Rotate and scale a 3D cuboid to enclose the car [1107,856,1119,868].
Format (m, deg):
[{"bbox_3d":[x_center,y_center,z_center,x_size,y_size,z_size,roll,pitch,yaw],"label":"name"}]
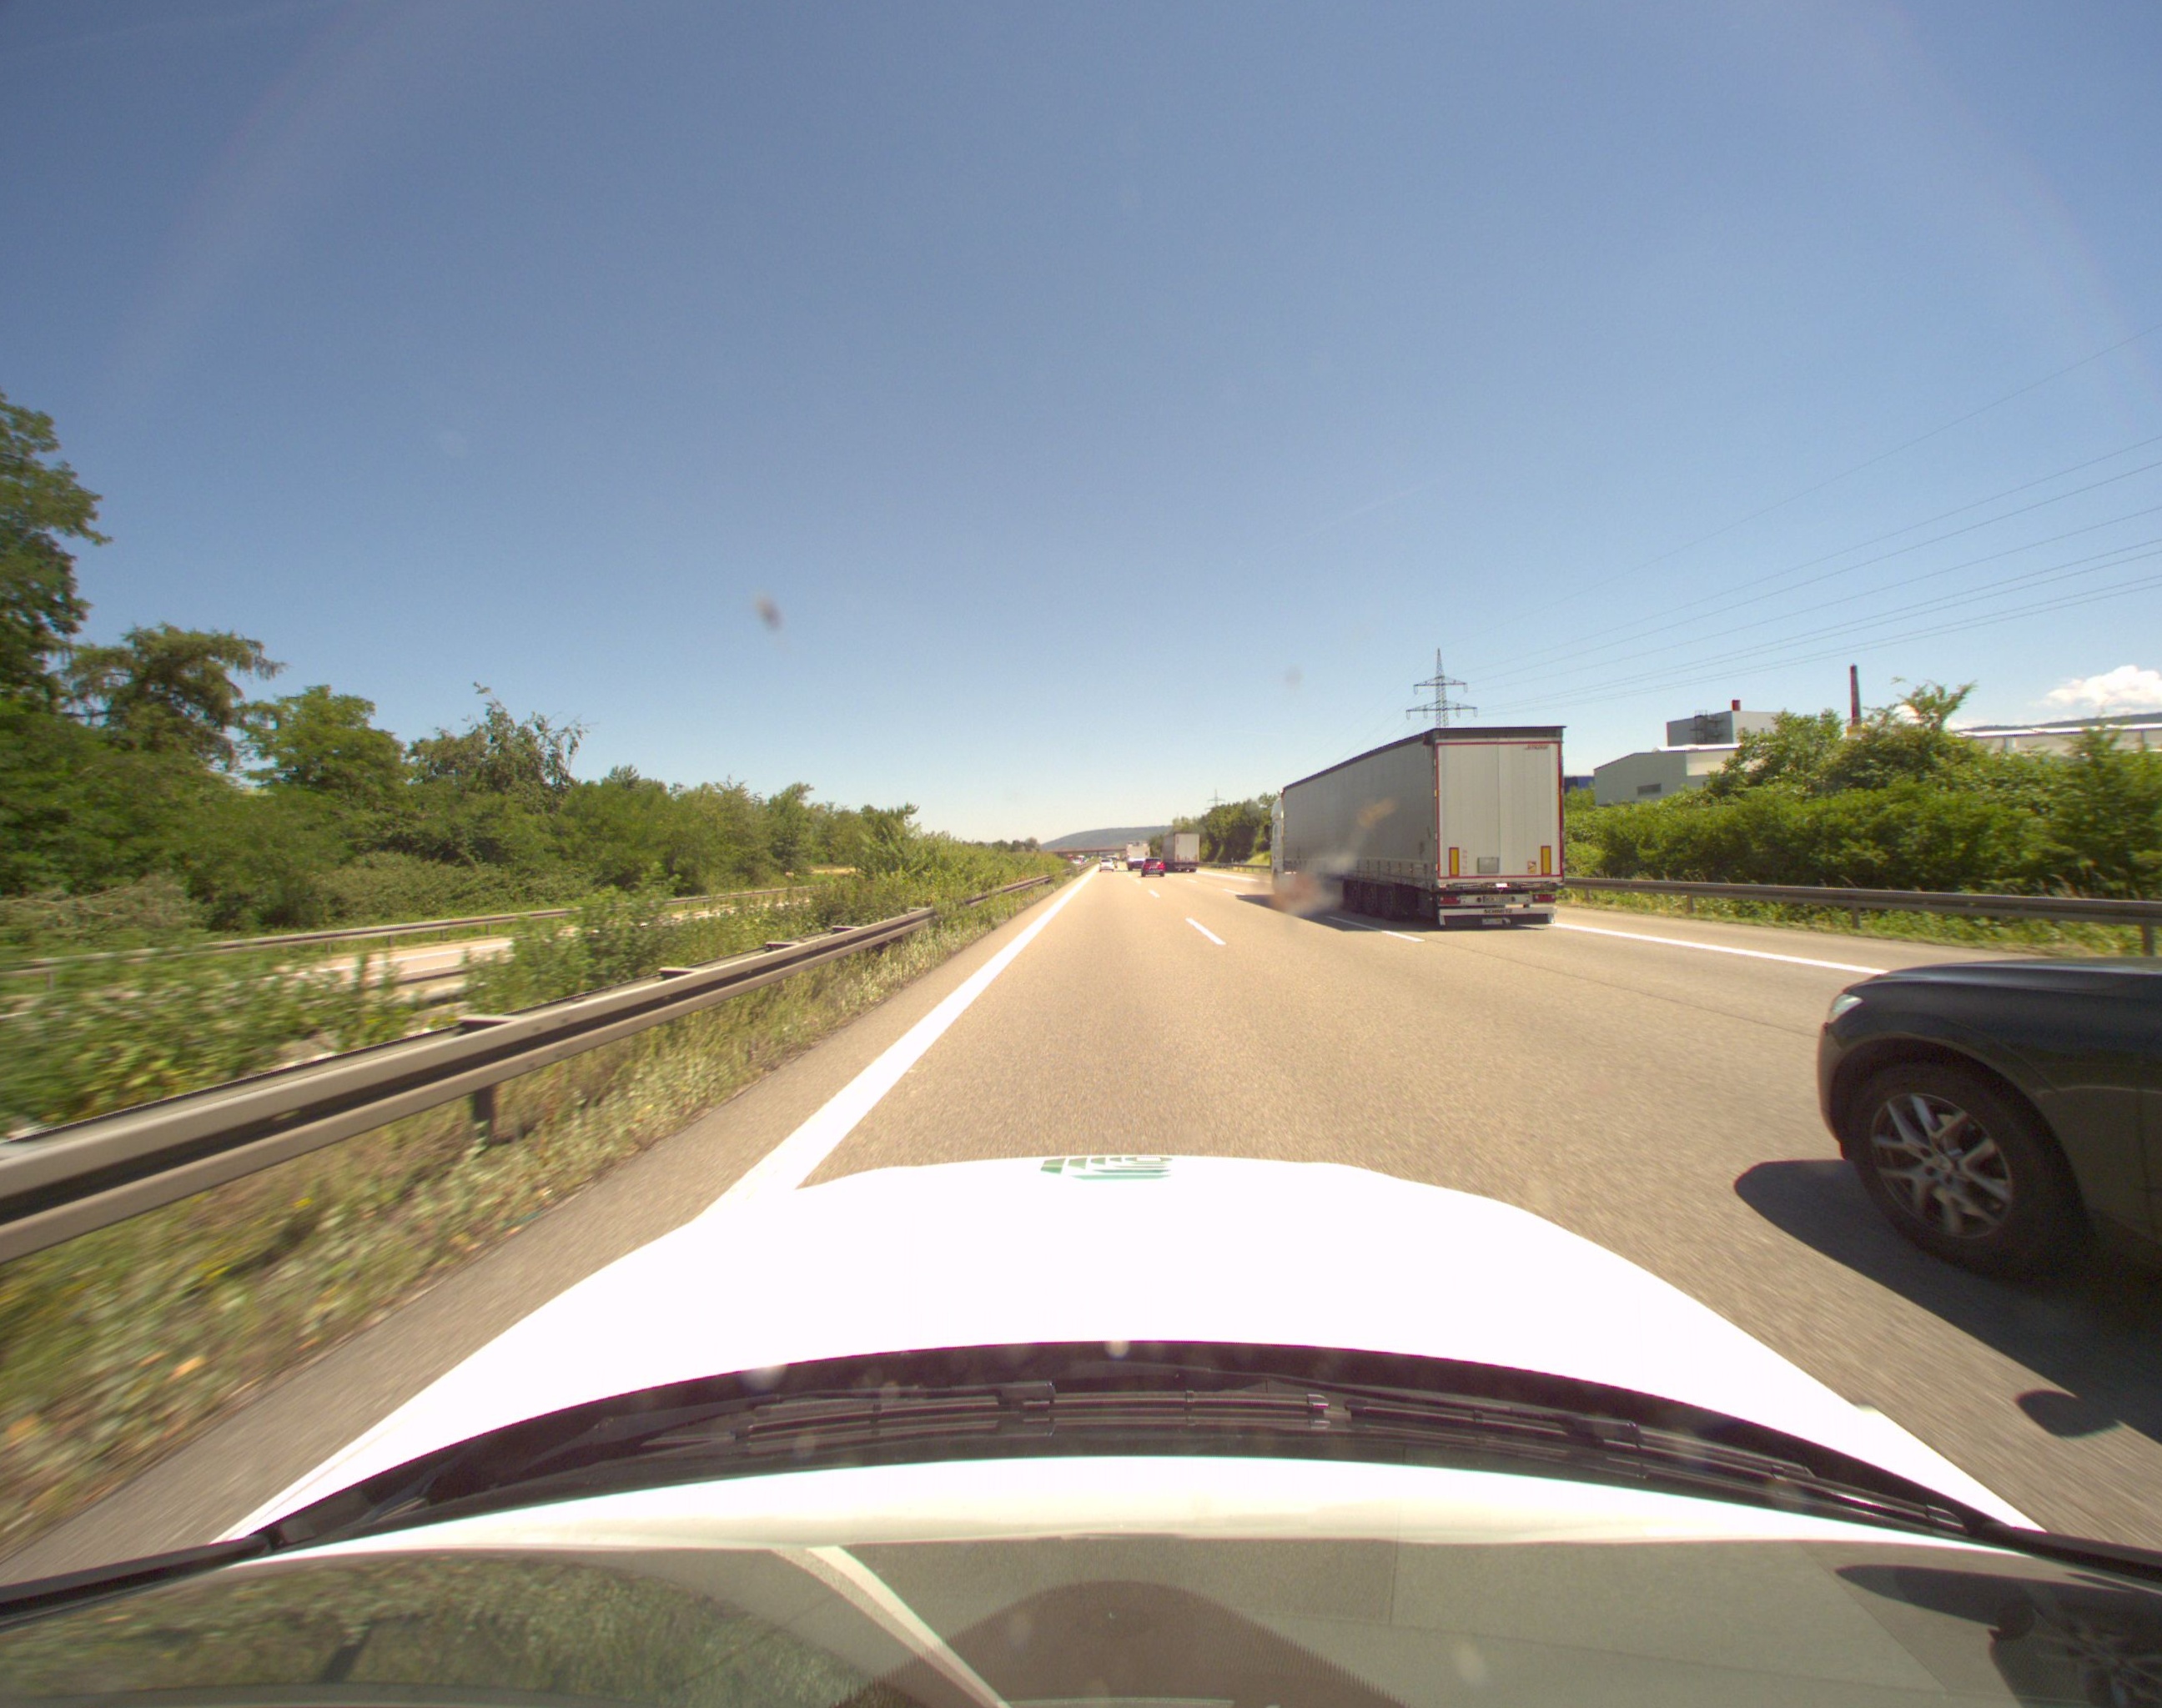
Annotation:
[{"bbox_3d":[4.899,1.205,125.440,1.754,1.850,4.002,-1,0,2],"label":"car"}]

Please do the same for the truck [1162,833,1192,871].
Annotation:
[{"bbox_3d":[10.975,-0.185,93.632,2.784,4.164,5.725,-2,-1,2],"label":"truck"}]

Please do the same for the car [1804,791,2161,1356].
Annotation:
[{"bbox_3d":[4.005,0.612,1.482,1.867,1.623,4.005,-1,0,1],"label":"car"}]

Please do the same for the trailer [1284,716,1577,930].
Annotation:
[{"bbox_3d":[8.390,-0.570,22.338,2.726,4.106,13.126,-1,0,2],"label":"trailer"}]

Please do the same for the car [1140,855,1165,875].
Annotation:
[{"bbox_3d":[5.784,0.891,66.077,1.796,1.545,4.002,-1,0,2],"label":"car"}]

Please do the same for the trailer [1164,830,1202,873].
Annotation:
[{"bbox_3d":[10.693,-0.218,86.750,2.778,4.164,13.581,-2,0,2],"label":"trailer"}]

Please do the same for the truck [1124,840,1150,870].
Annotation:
[{"bbox_3d":[6.722,0.168,98.757,2.772,3.373,8.130,-1,-1,2],"label":"truck"}]

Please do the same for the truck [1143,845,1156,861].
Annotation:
[{"bbox_3d":[14.506,-0.126,173.214,2.213,3.209,10.388,-2,0,2],"label":"truck"}]

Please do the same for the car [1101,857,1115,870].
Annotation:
[{"bbox_3d":[3.114,1.052,94.410,1.601,1.468,4.002,-1,0,2],"label":"car"}]

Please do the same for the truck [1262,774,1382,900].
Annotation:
[{"bbox_3d":[8.638,-0.537,29.955,2.726,4.120,6.127,-1,0,2],"label":"truck"}]
